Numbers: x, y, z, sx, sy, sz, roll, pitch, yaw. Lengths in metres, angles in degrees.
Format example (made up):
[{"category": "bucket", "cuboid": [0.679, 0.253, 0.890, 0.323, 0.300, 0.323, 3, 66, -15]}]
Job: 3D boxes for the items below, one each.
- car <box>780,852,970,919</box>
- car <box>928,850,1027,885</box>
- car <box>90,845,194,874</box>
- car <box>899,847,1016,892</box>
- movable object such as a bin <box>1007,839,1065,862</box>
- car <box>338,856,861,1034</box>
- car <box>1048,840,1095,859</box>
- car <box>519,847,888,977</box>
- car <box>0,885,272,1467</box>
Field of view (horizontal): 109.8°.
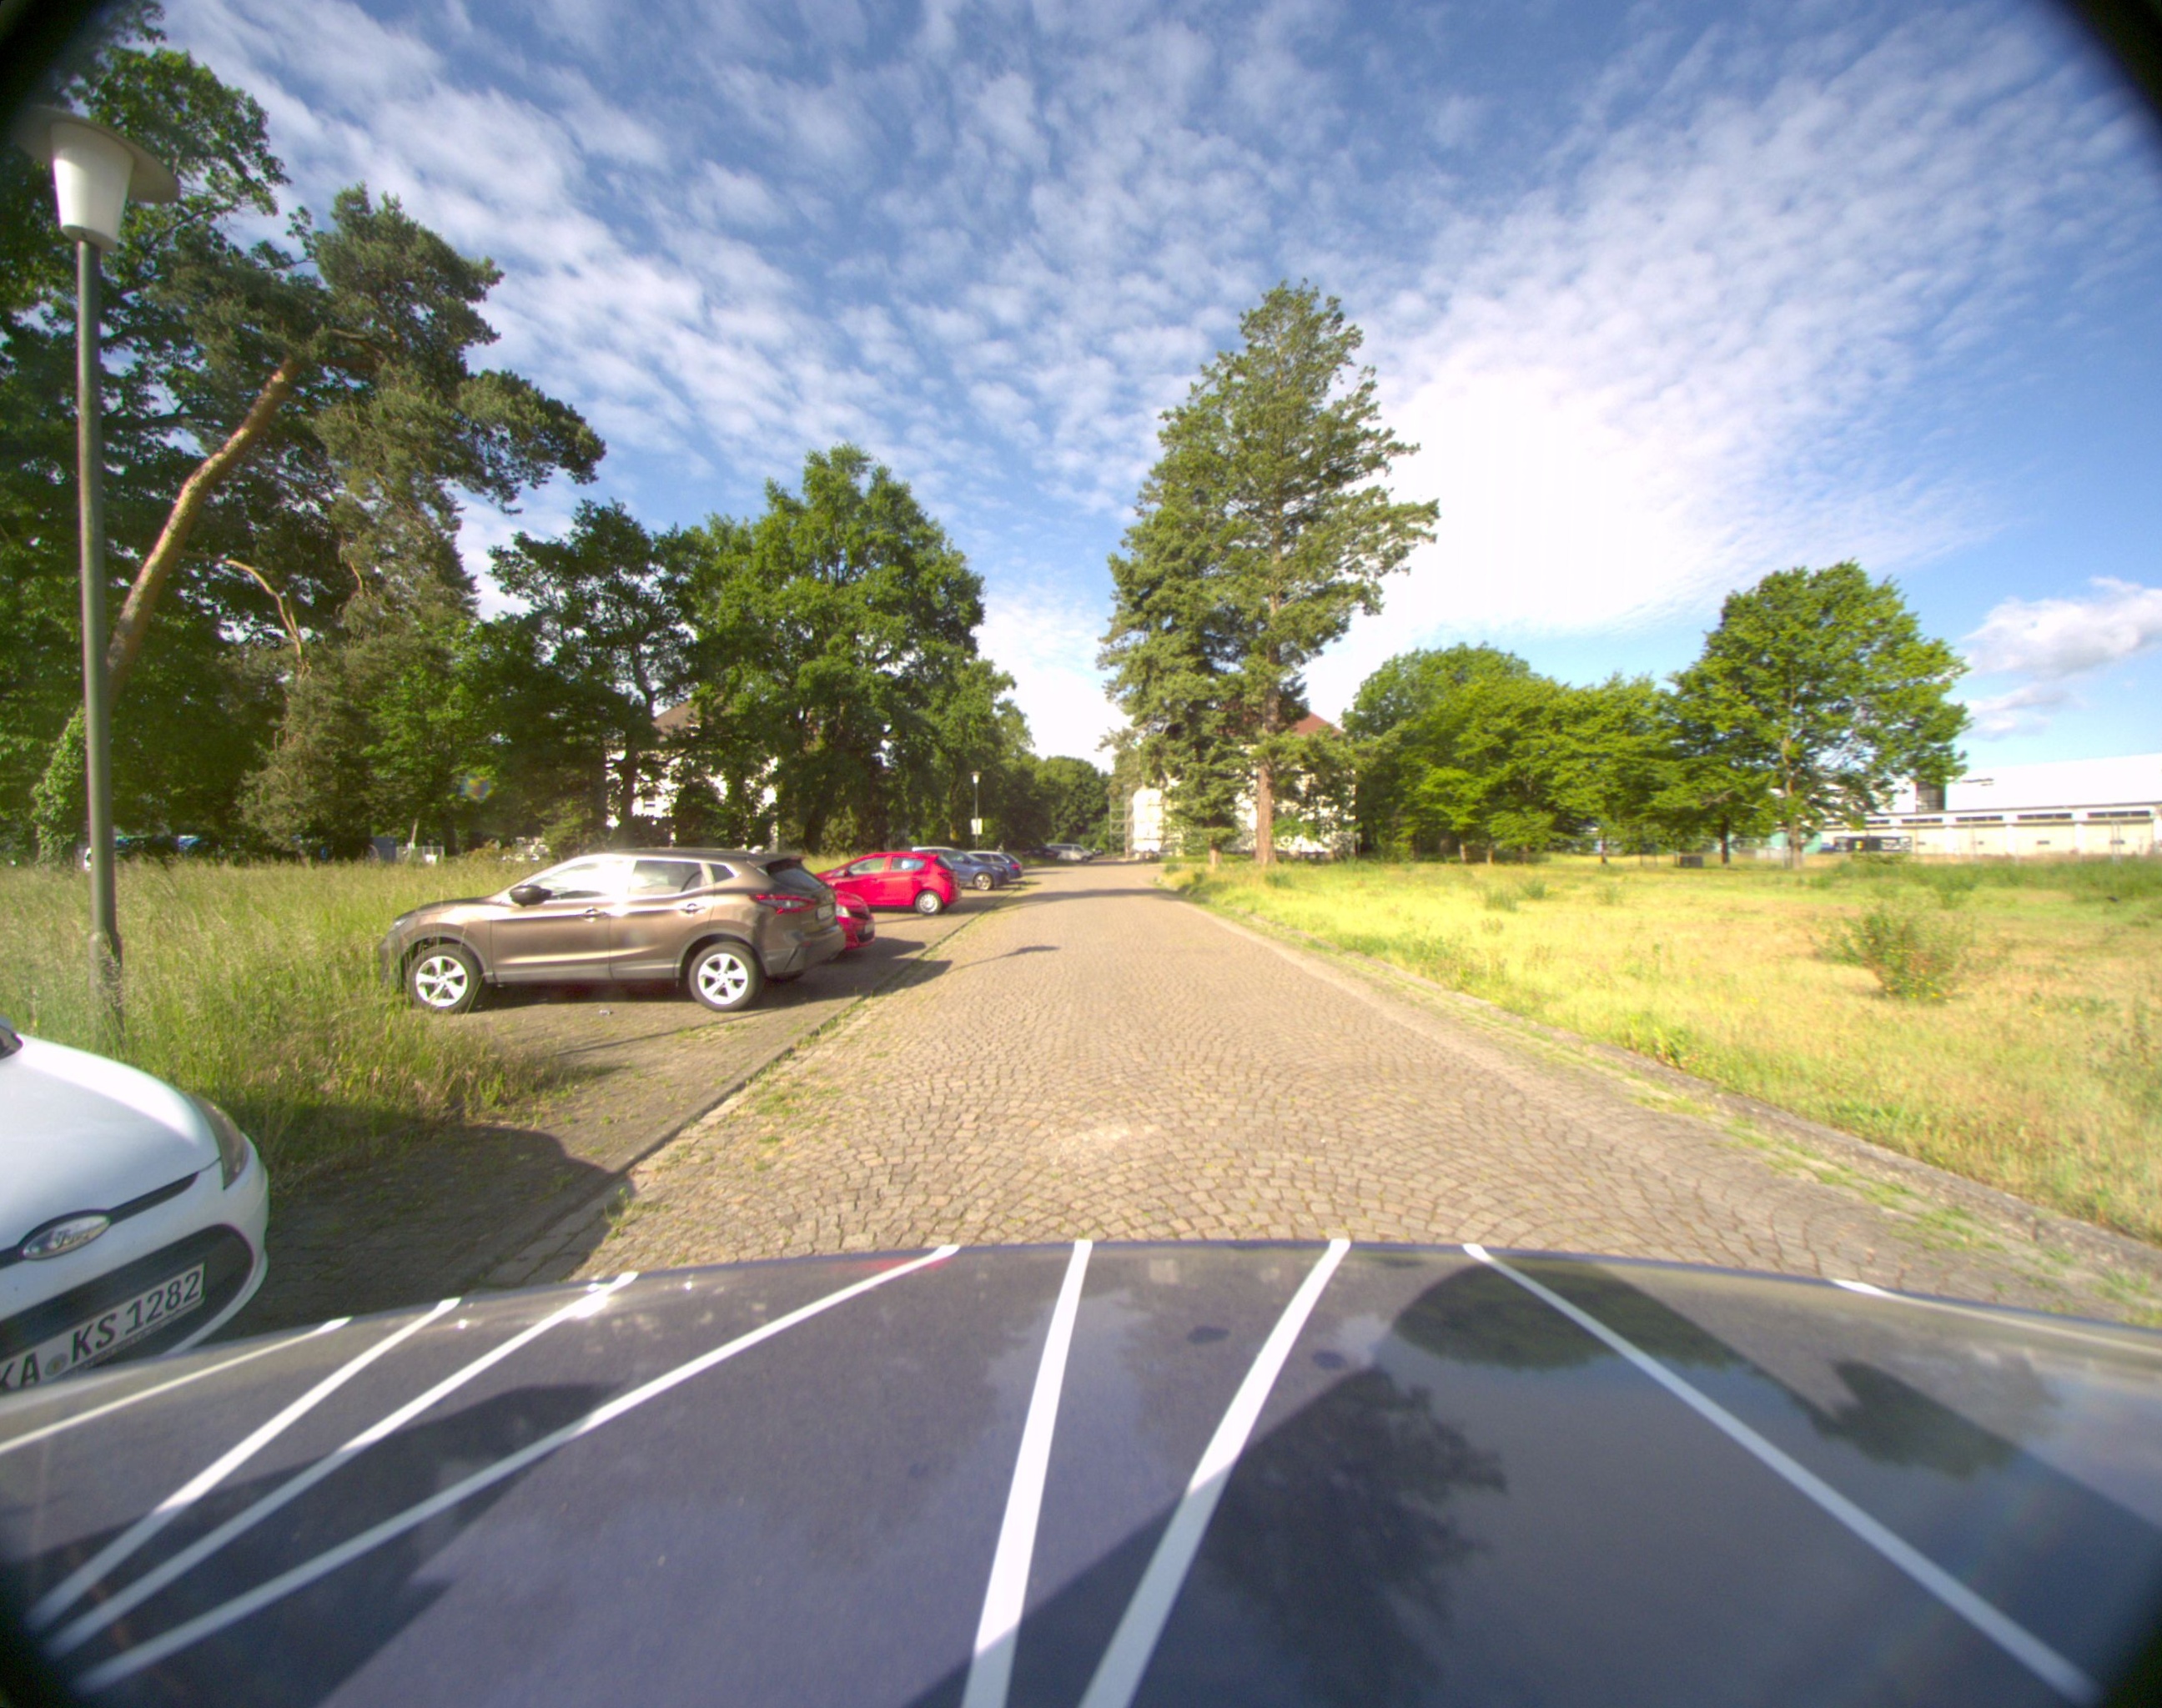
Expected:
[{"category": "car", "cuboid": [-4.878, 0.731, 18.442, 4.098, 1.451, 1.852, 1, 1, -2]}, {"category": "car", "cuboid": [-4.477, 0.581, 33.354, 4.098, 1.415, 1.784, 1, 1, -2]}, {"category": "car", "cuboid": [-68.323, 0.356, 55.410, 1.906, 1.928, 4.394, -3, 2, 1]}, {"category": "car", "cuboid": [-4.566, 0.559, 28.610, 4.098, 1.548, 1.852, 1, 1, -2]}, {"category": "movable object such as a bin", "cuboid": [-4.068, -0.329, 69.195, 4.865, 2.002, 2.002, -1, 1, 13]}, {"category": "car", "cuboid": [-4.719, 0.840, 8.046, 4.237, 1.589, 1.934, 0, 2, -3]}, {"category": "car", "cuboid": [-1.021, -0.487, 82.126, 4.933, 2.002, 1.998, 1, 1, -6]}, {"category": "car", "cuboid": [-5.078, 0.746, 10.748, 4.237, 1.589, 1.934, 1, 2, -3]}, {"category": "car", "cuboid": [-5.201, 0.894, 1.817, 4.409, 1.568, 1.939, 1, 1, -1]}]
